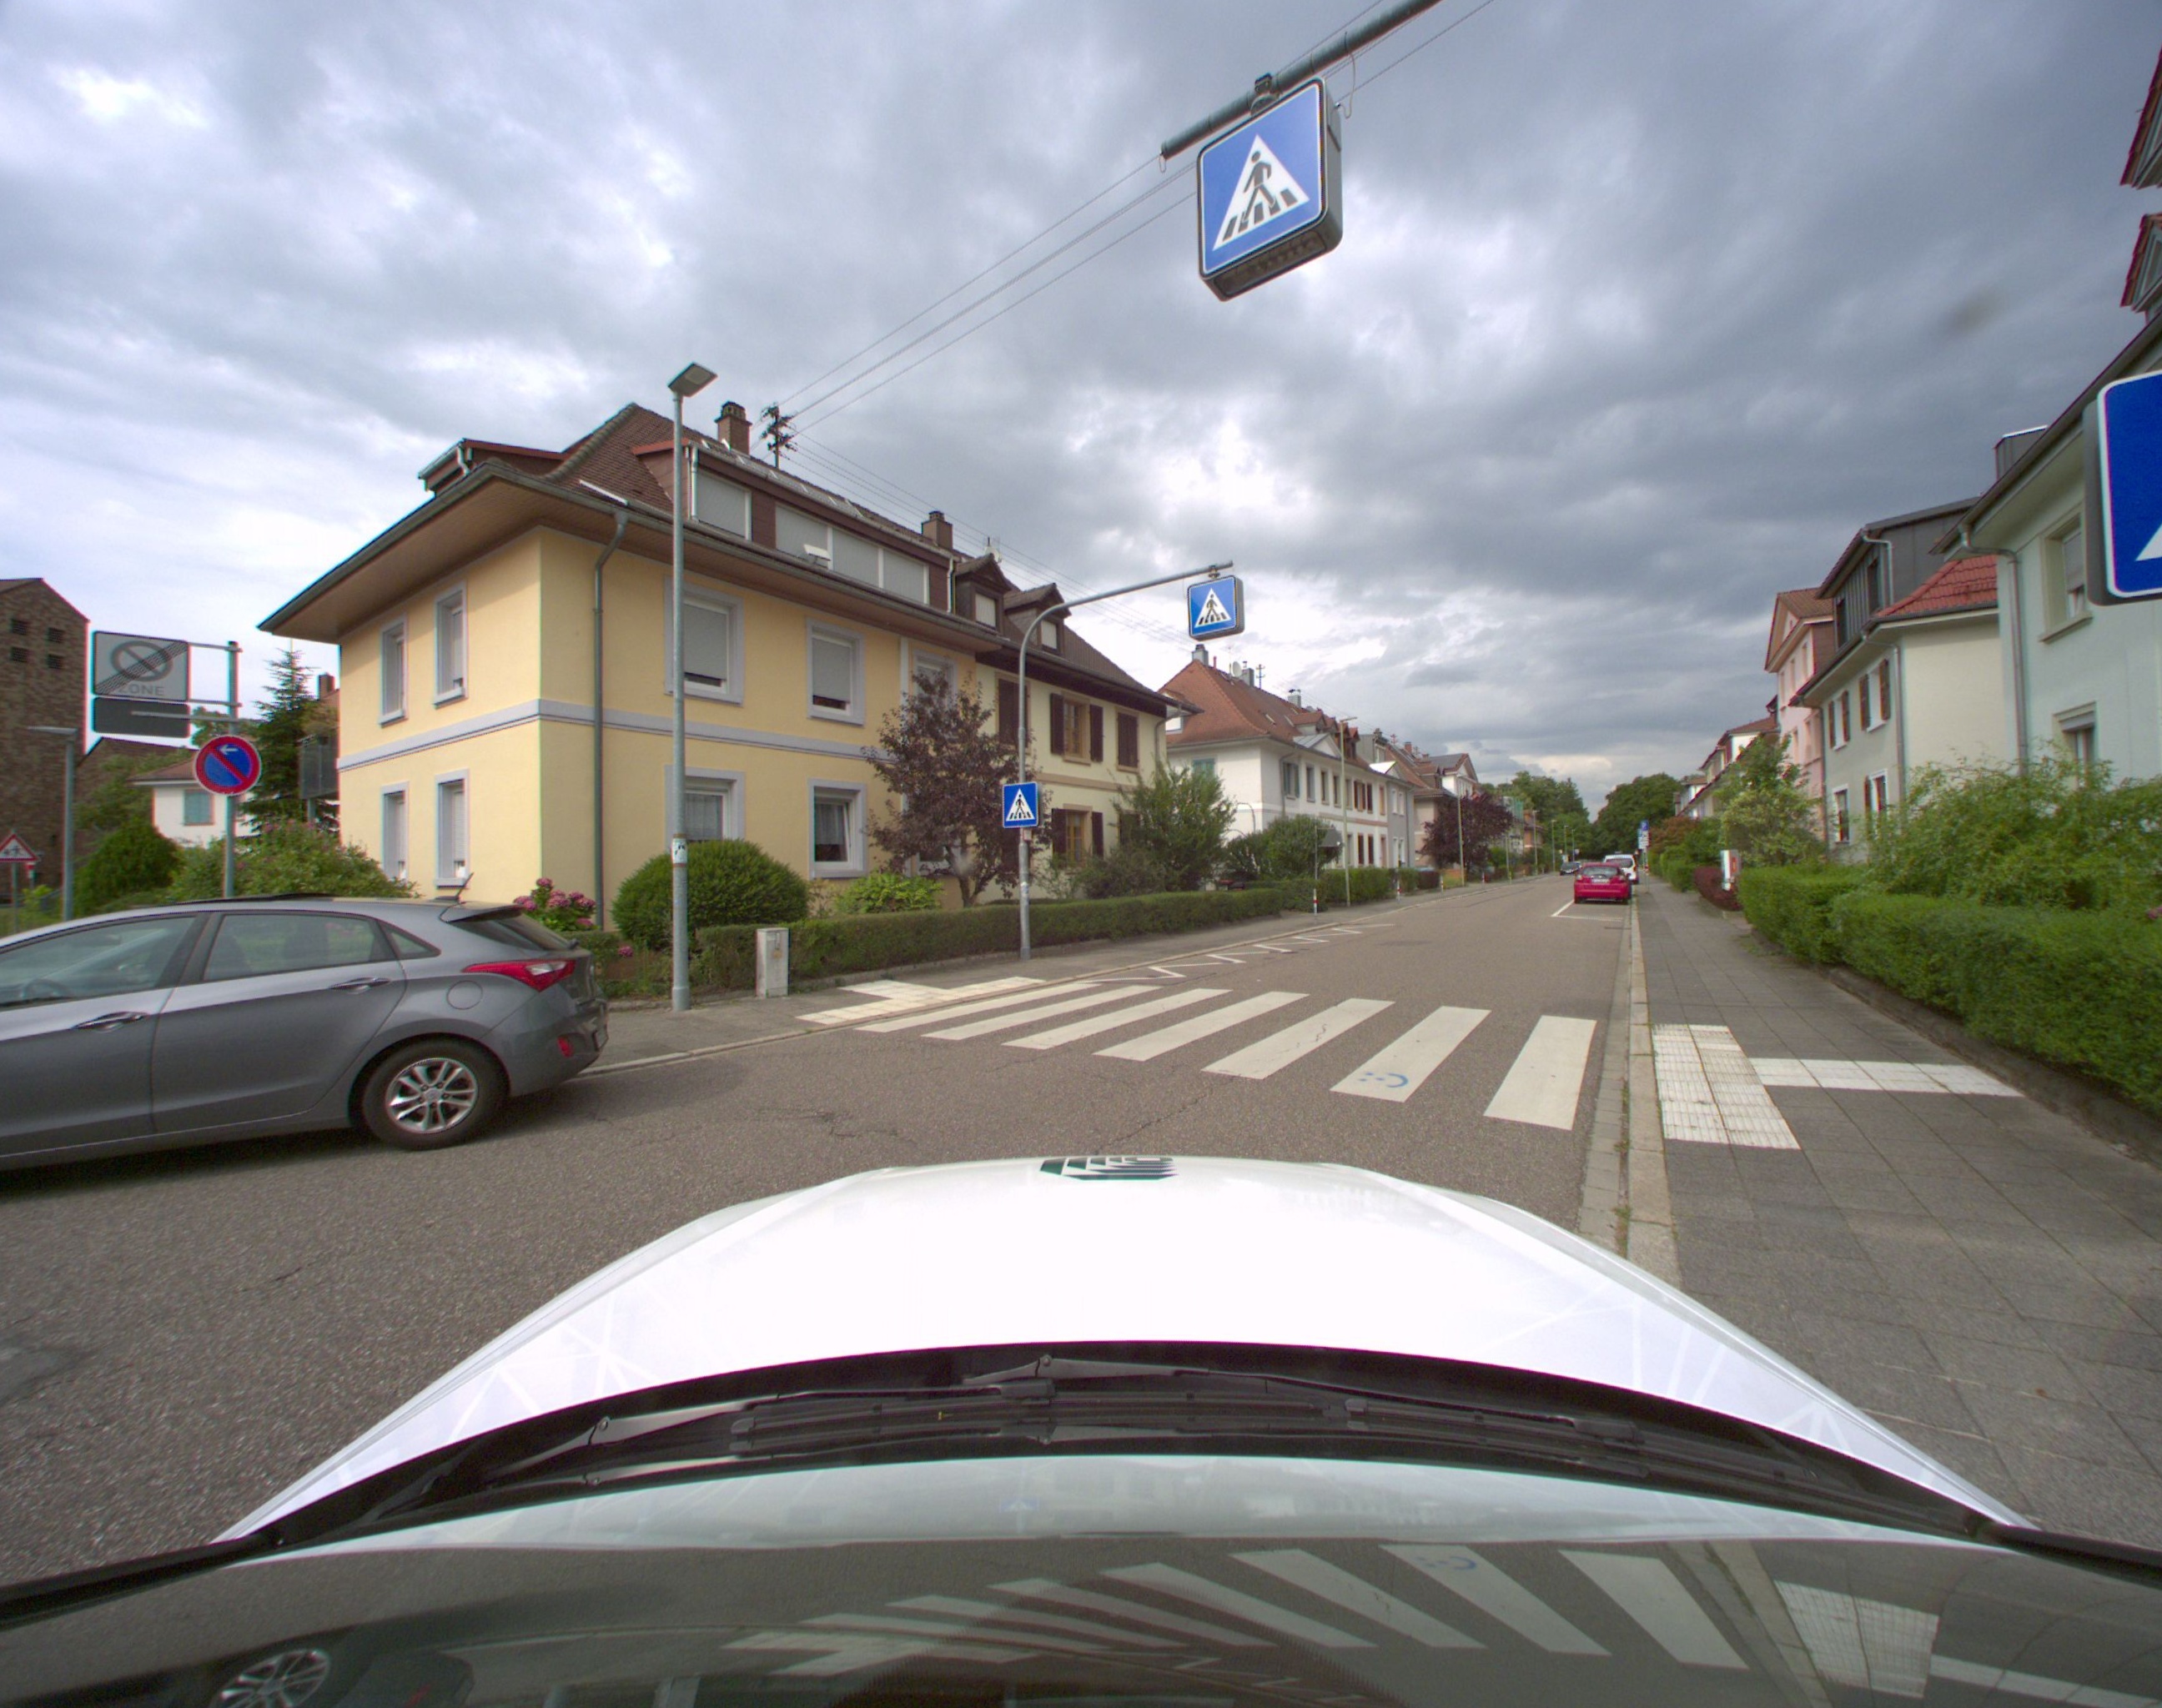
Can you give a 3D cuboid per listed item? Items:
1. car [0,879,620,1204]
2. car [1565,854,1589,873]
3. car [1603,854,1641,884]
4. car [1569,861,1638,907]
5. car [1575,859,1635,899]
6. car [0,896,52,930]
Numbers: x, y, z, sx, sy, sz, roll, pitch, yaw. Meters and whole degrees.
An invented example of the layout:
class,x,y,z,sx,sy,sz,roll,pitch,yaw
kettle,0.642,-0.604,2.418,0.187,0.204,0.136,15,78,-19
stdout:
class,x,y,z,sx,sy,sz,roll,pitch,yaw
car,-5.157,0.940,4.904,4.051,1.481,1.838,-1,-2,-28
car,54.443,1.064,89.376,1.974,2.014,4.025,-2,-2,34
car,35.587,0.983,53.537,1.974,1.904,4.025,-2,-2,34
car,19.451,1.094,30.234,1.974,1.574,4.025,-2,-2,34
car,22.324,1.031,34.631,1.974,1.574,4.025,-2,-2,34
car,-50.629,2.766,37.269,1.662,1.464,4.254,0,-1,34
